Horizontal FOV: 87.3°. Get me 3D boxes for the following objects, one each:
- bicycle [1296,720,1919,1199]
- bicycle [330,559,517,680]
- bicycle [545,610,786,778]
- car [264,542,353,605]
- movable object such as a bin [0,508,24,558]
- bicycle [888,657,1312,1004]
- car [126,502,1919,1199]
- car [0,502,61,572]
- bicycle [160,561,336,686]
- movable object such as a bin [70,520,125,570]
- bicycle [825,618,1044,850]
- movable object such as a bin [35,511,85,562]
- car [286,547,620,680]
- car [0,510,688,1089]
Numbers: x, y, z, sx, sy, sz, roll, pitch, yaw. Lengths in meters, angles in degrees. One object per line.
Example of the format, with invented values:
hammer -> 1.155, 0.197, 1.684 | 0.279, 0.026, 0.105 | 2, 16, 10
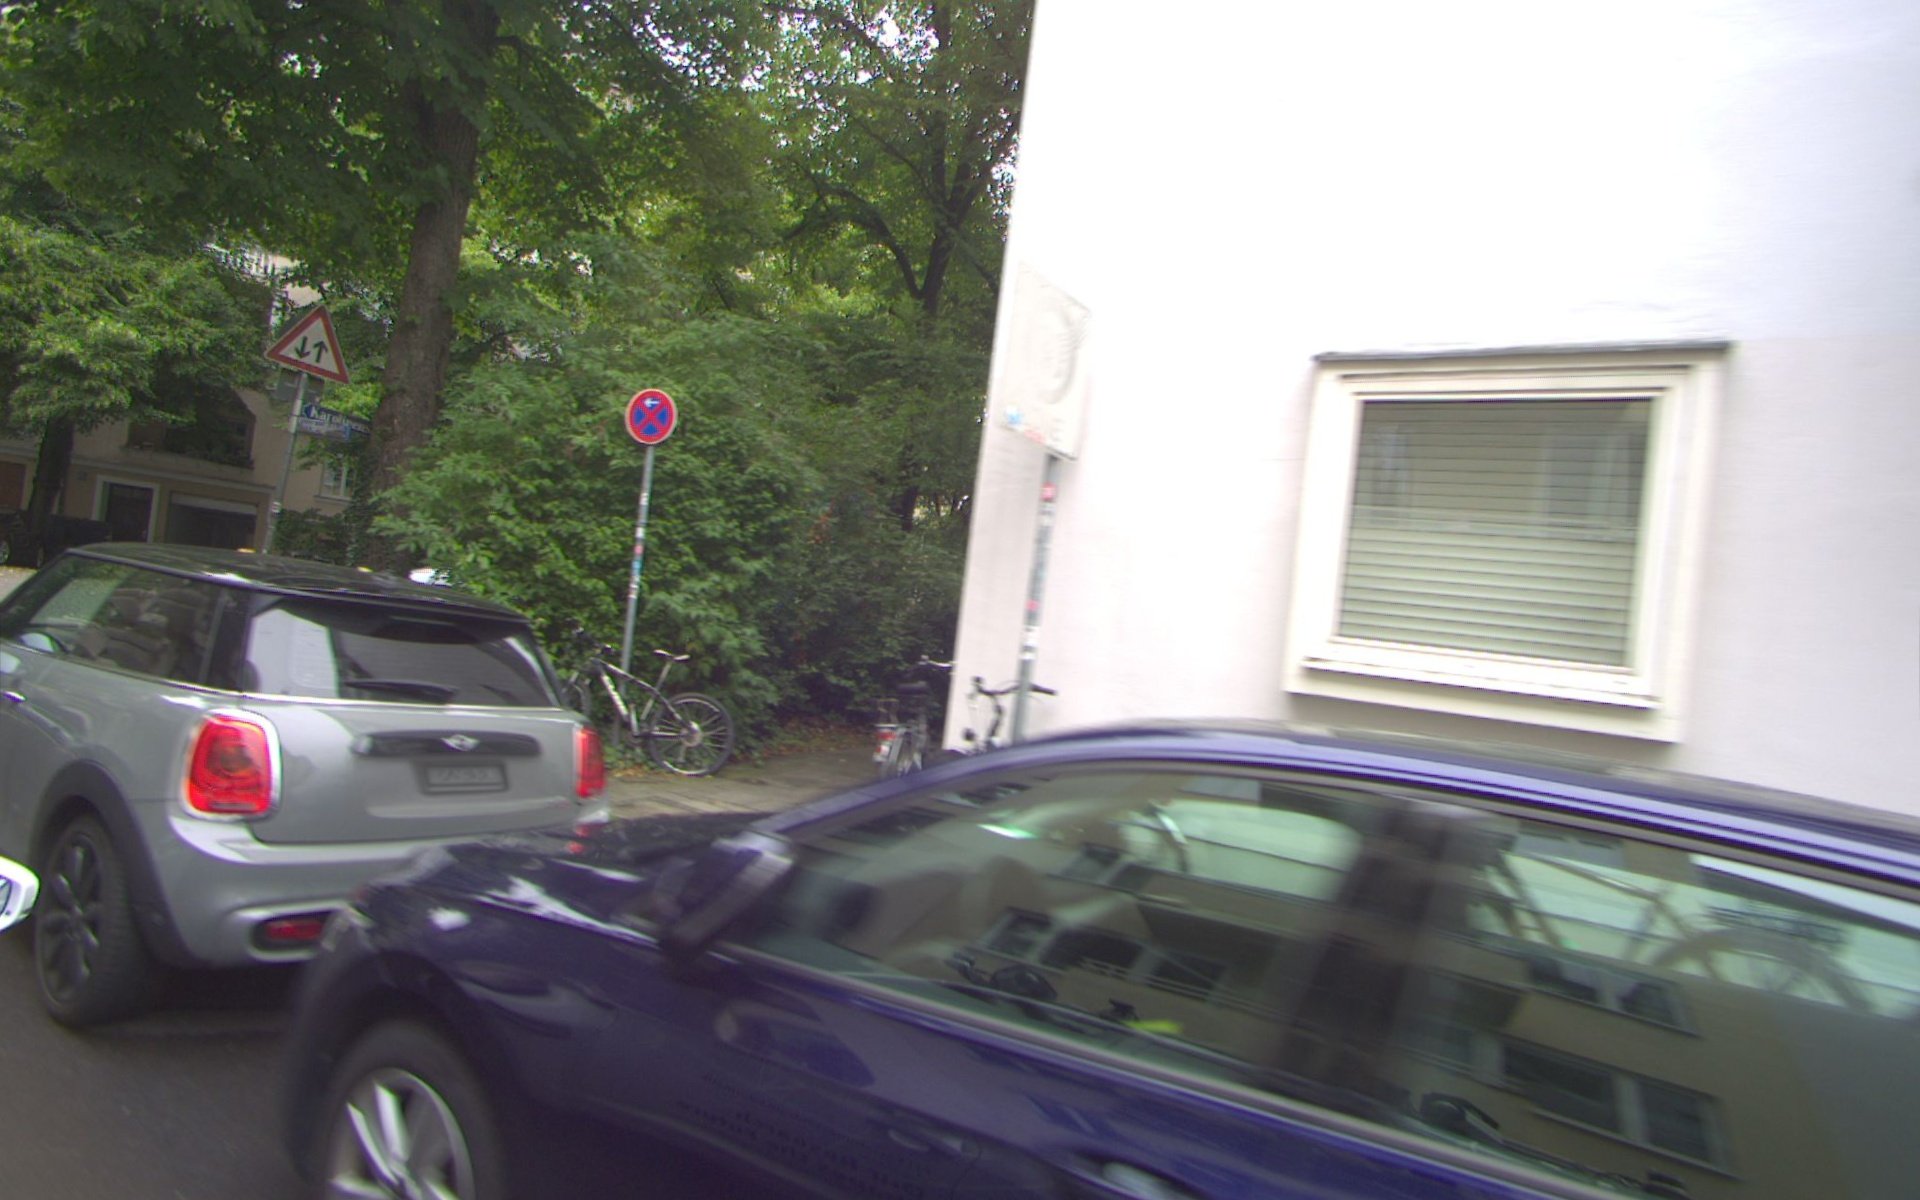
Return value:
bicycle -> 2.546, 1.248, 3.823 | 2.209, 1.233, 0.625 | 7, -2, 29
bicycle -> -5.427, 0.242, 10.295 | 0.594, 1.068, 1.637 | 7, -2, 17
bicycle -> -2.243, 0.727, 7.767 | 1.611, 1.068, 0.450 | 9, -1, -17
car -> -18.224, -0.717, 28.094 | 1.828, 1.398, 4.305 | 8, -3, -34
movable object such as a bin -> -27.669, -1.974, 28.664 | 1.143, 1.364, 1.147 | 9, -1, -33
bicycle -> 0.643, 1.032, 5.000 | 1.886, 1.233, 0.561 | 7, -2, 32
car -> 0.296, 0.753, 2.124 | 3.990, 1.436, 1.837 | 6, -1, 31
car -> -24.054, -1.655, 24.780 | 1.691, 1.482, 4.263 | 10, -5, -28
bicycle -> -7.463, 0.261, 10.657 | 0.544, 1.150, 1.773 | 7, -2, -3
movable object such as a bin -> -25.515, -1.621, 29.785 | 0.858, 1.319, 1.420 | 10, -3, -32
bicycle -> -0.084, 0.842, 6.610 | 0.568, 1.243, 1.855 | 7, -2, 24
movable object such as a bin -> -26.474, -1.856, 29.614 | 0.708, 1.363, 1.363 | 8, -2, -30
car -> -7.867, 0.211, 15.626 | 4.647, 1.393, 1.961 | 7, -2, 22
car -> -3.301, 0.461, 4.442 | 3.935, 1.458, 1.746 | 6, -1, 33
